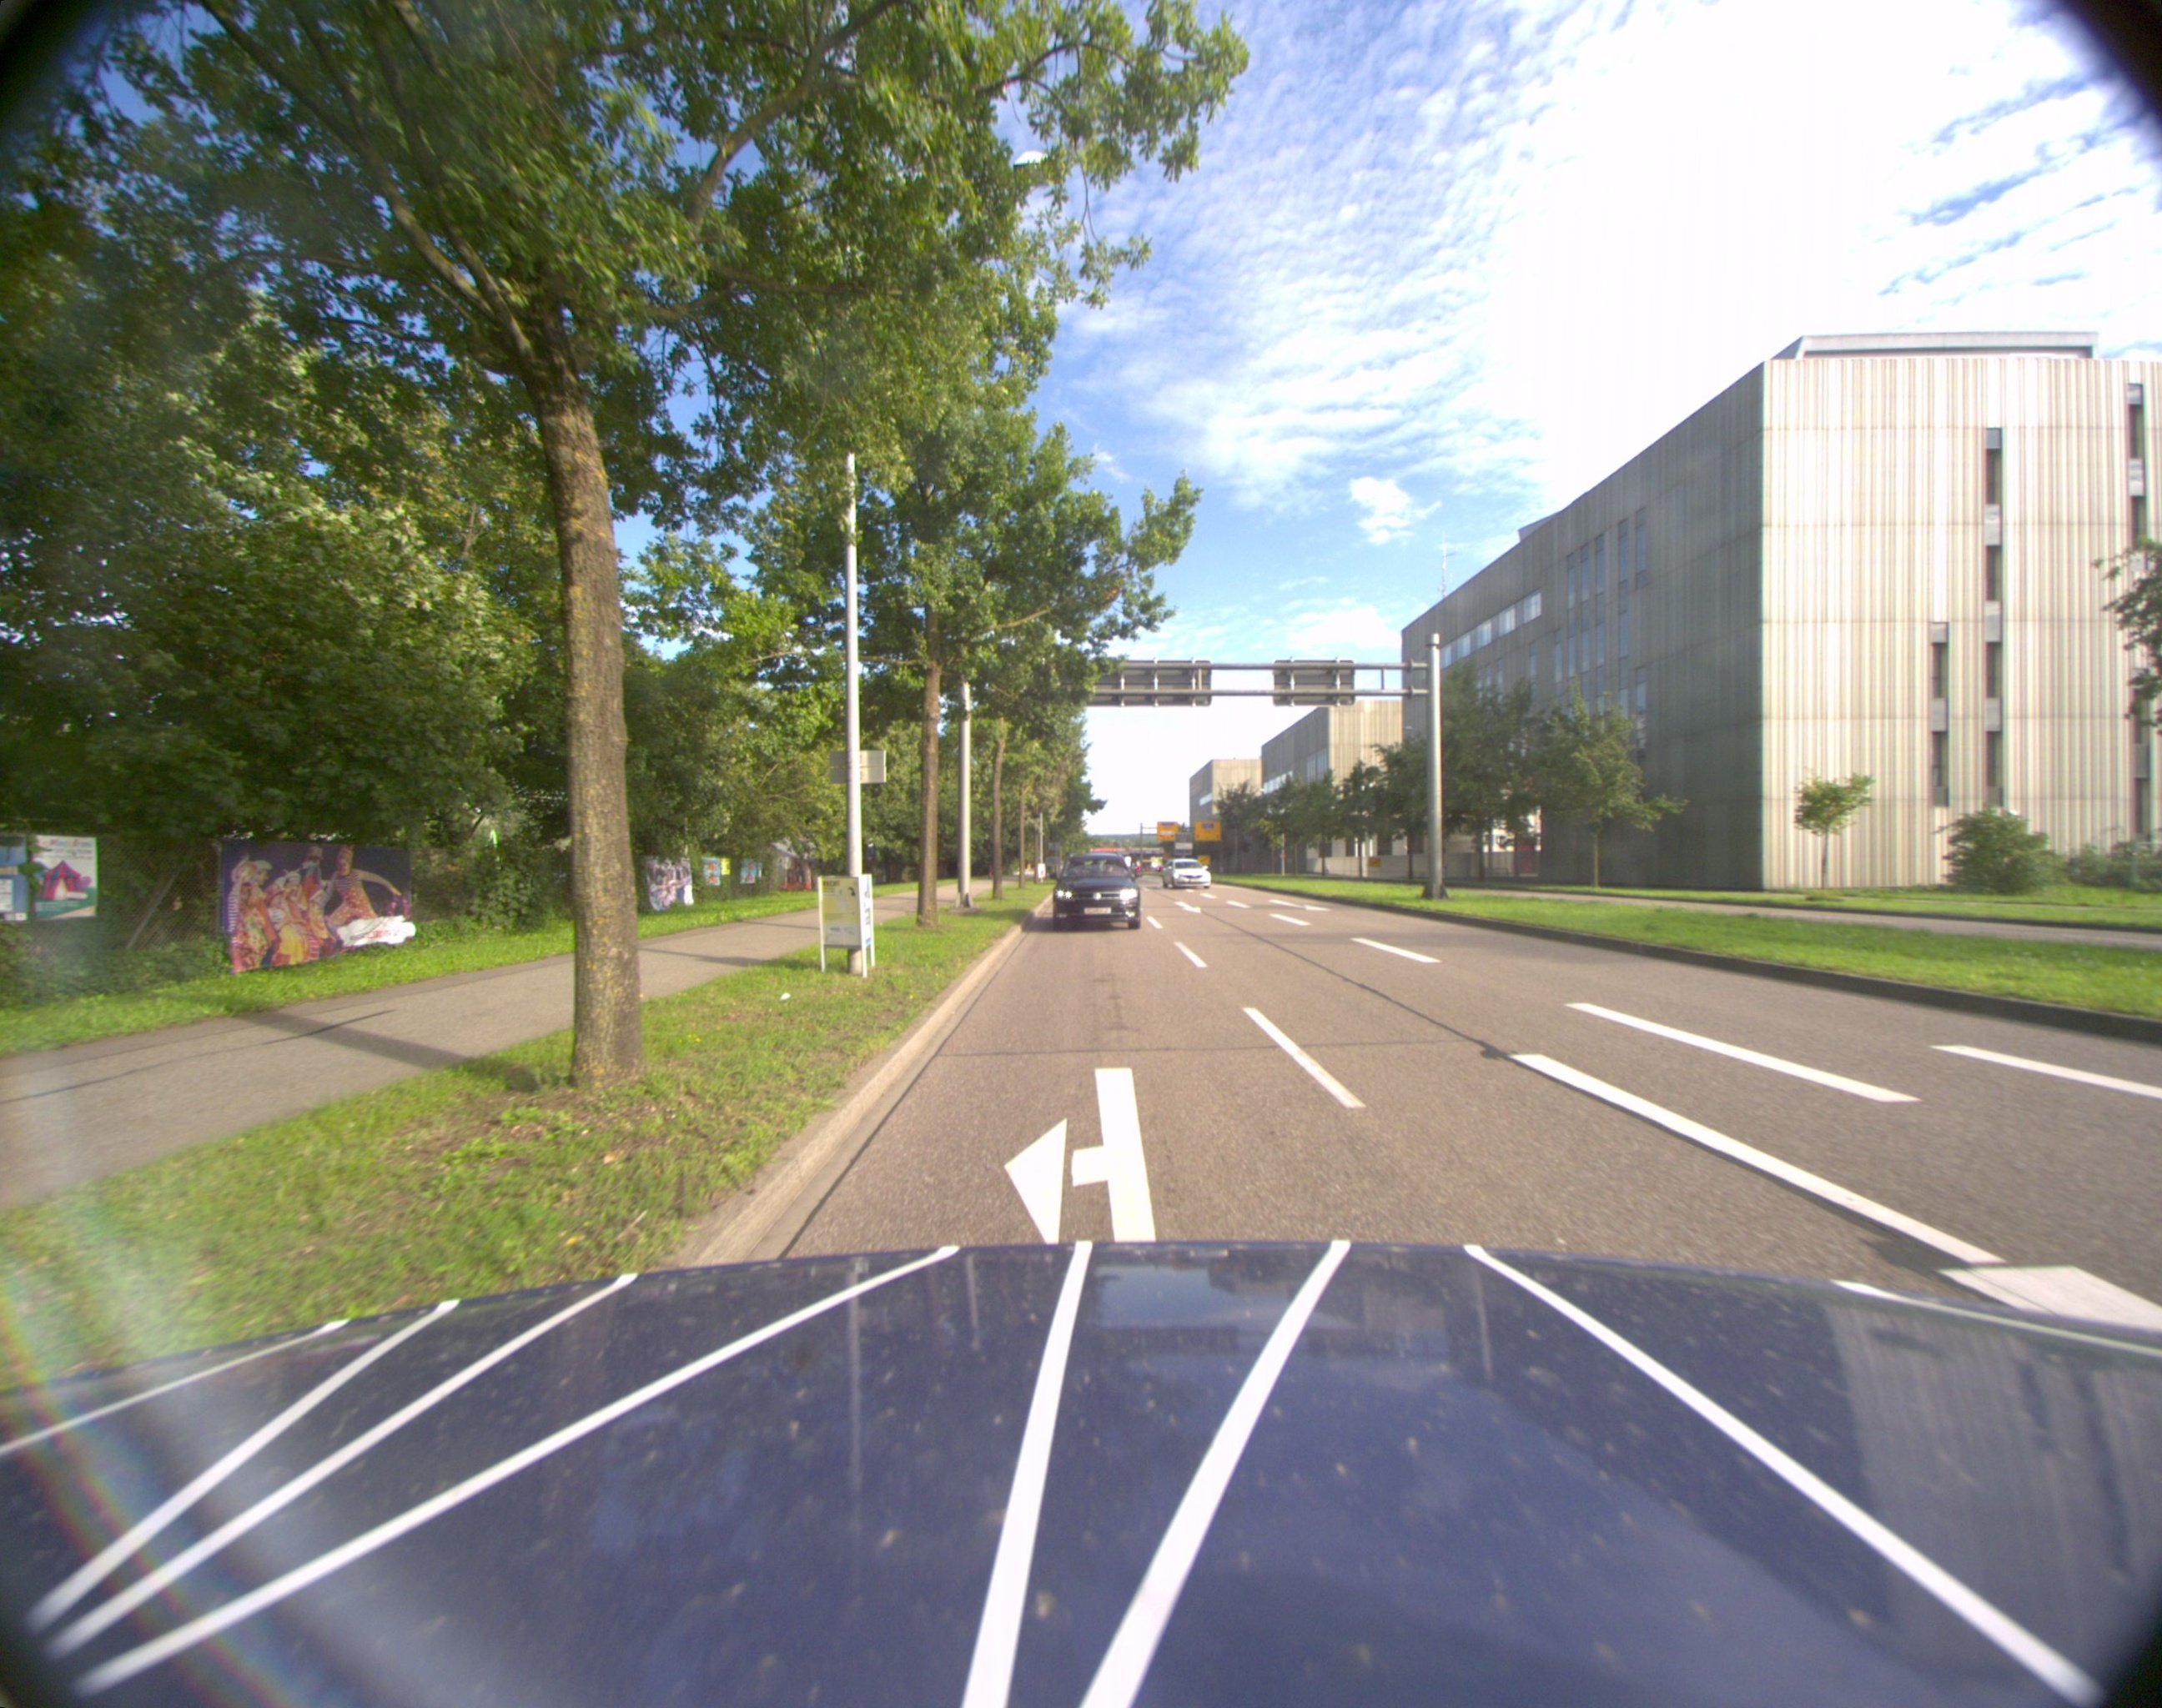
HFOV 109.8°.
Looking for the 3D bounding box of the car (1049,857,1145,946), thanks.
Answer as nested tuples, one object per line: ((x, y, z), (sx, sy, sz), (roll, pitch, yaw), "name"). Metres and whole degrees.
((0.343, 0.907, 16.363), (1.775, 1.637, 3.869), (-2, 0, 1), "car")

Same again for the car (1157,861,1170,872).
((14.970, 2.276, 138.044), (1.999, 2.002, 4.000), (0, 0, 0), "car")

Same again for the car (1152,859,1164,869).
((15.571, 1.951, 153.502), (1.999, 2.002, 3.983), (0, 0, 0), "car")

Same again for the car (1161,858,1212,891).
((5.196, 0.959, 37.915), (1.703, 1.489, 4.480), (-1, 0, -2), "car")
